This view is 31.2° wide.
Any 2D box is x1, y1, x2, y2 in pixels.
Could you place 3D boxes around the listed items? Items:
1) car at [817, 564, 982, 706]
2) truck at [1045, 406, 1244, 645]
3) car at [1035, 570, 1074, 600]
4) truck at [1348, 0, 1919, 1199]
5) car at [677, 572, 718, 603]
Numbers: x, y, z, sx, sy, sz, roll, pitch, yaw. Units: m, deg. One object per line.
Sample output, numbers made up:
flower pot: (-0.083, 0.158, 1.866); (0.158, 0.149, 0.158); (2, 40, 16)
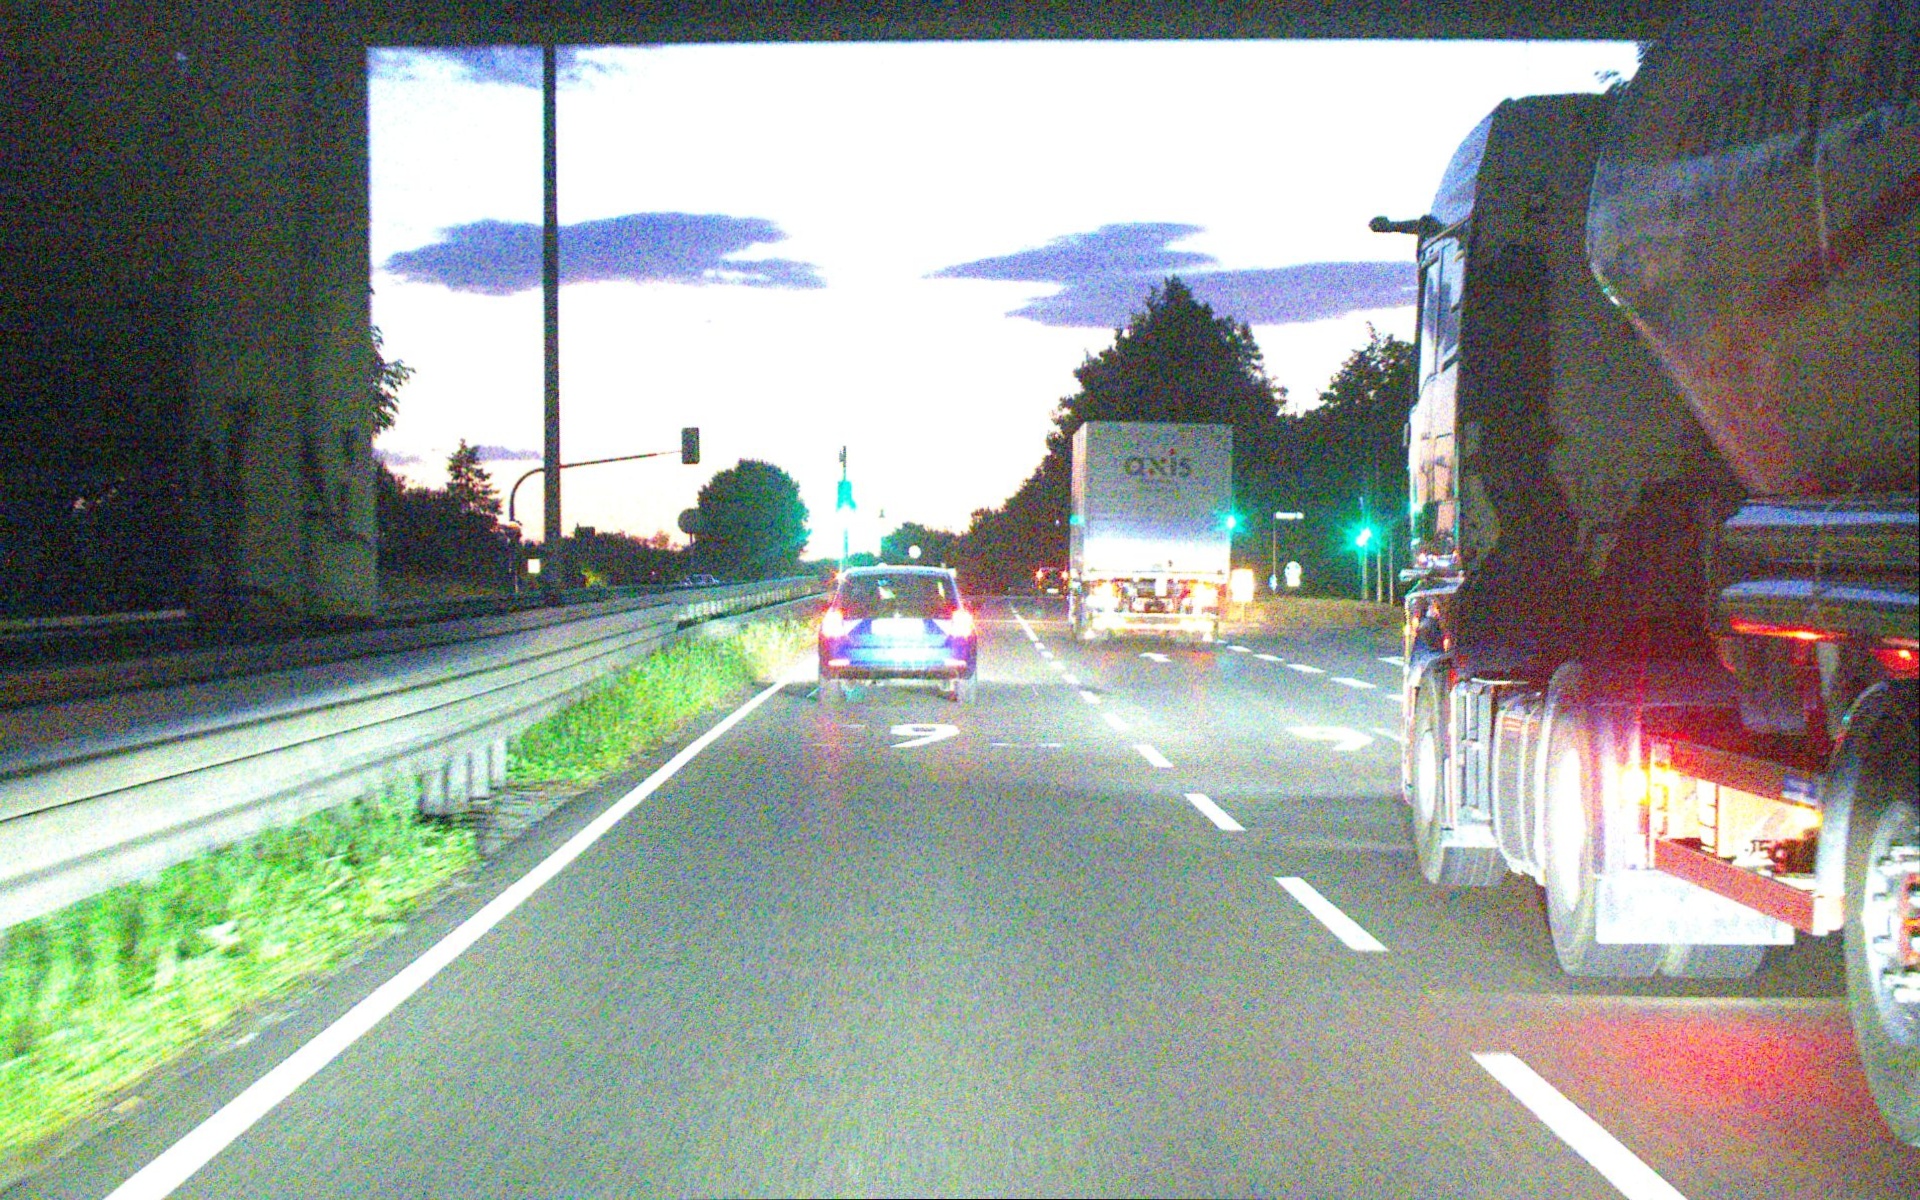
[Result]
car: (-0.659, 0.347, 37.610); (1.695, 1.447, 3.914); (1, 0, -1)
truck: (3.344, -1.338, 65.720); (2.883, 4.092, 12.684); (1, 0, -1)
car: (4.575, -0.739, 166.363); (1.695, 1.447, 3.914); (1, 0, -1)
truck: (3.453, -0.627, 11.178); (2.687, 4.092, 13.142); (1, 0, -1)
car: (-12.087, -0.585, 158.584); (1.605, 1.325, 3.940); (-2, 1, -1)
